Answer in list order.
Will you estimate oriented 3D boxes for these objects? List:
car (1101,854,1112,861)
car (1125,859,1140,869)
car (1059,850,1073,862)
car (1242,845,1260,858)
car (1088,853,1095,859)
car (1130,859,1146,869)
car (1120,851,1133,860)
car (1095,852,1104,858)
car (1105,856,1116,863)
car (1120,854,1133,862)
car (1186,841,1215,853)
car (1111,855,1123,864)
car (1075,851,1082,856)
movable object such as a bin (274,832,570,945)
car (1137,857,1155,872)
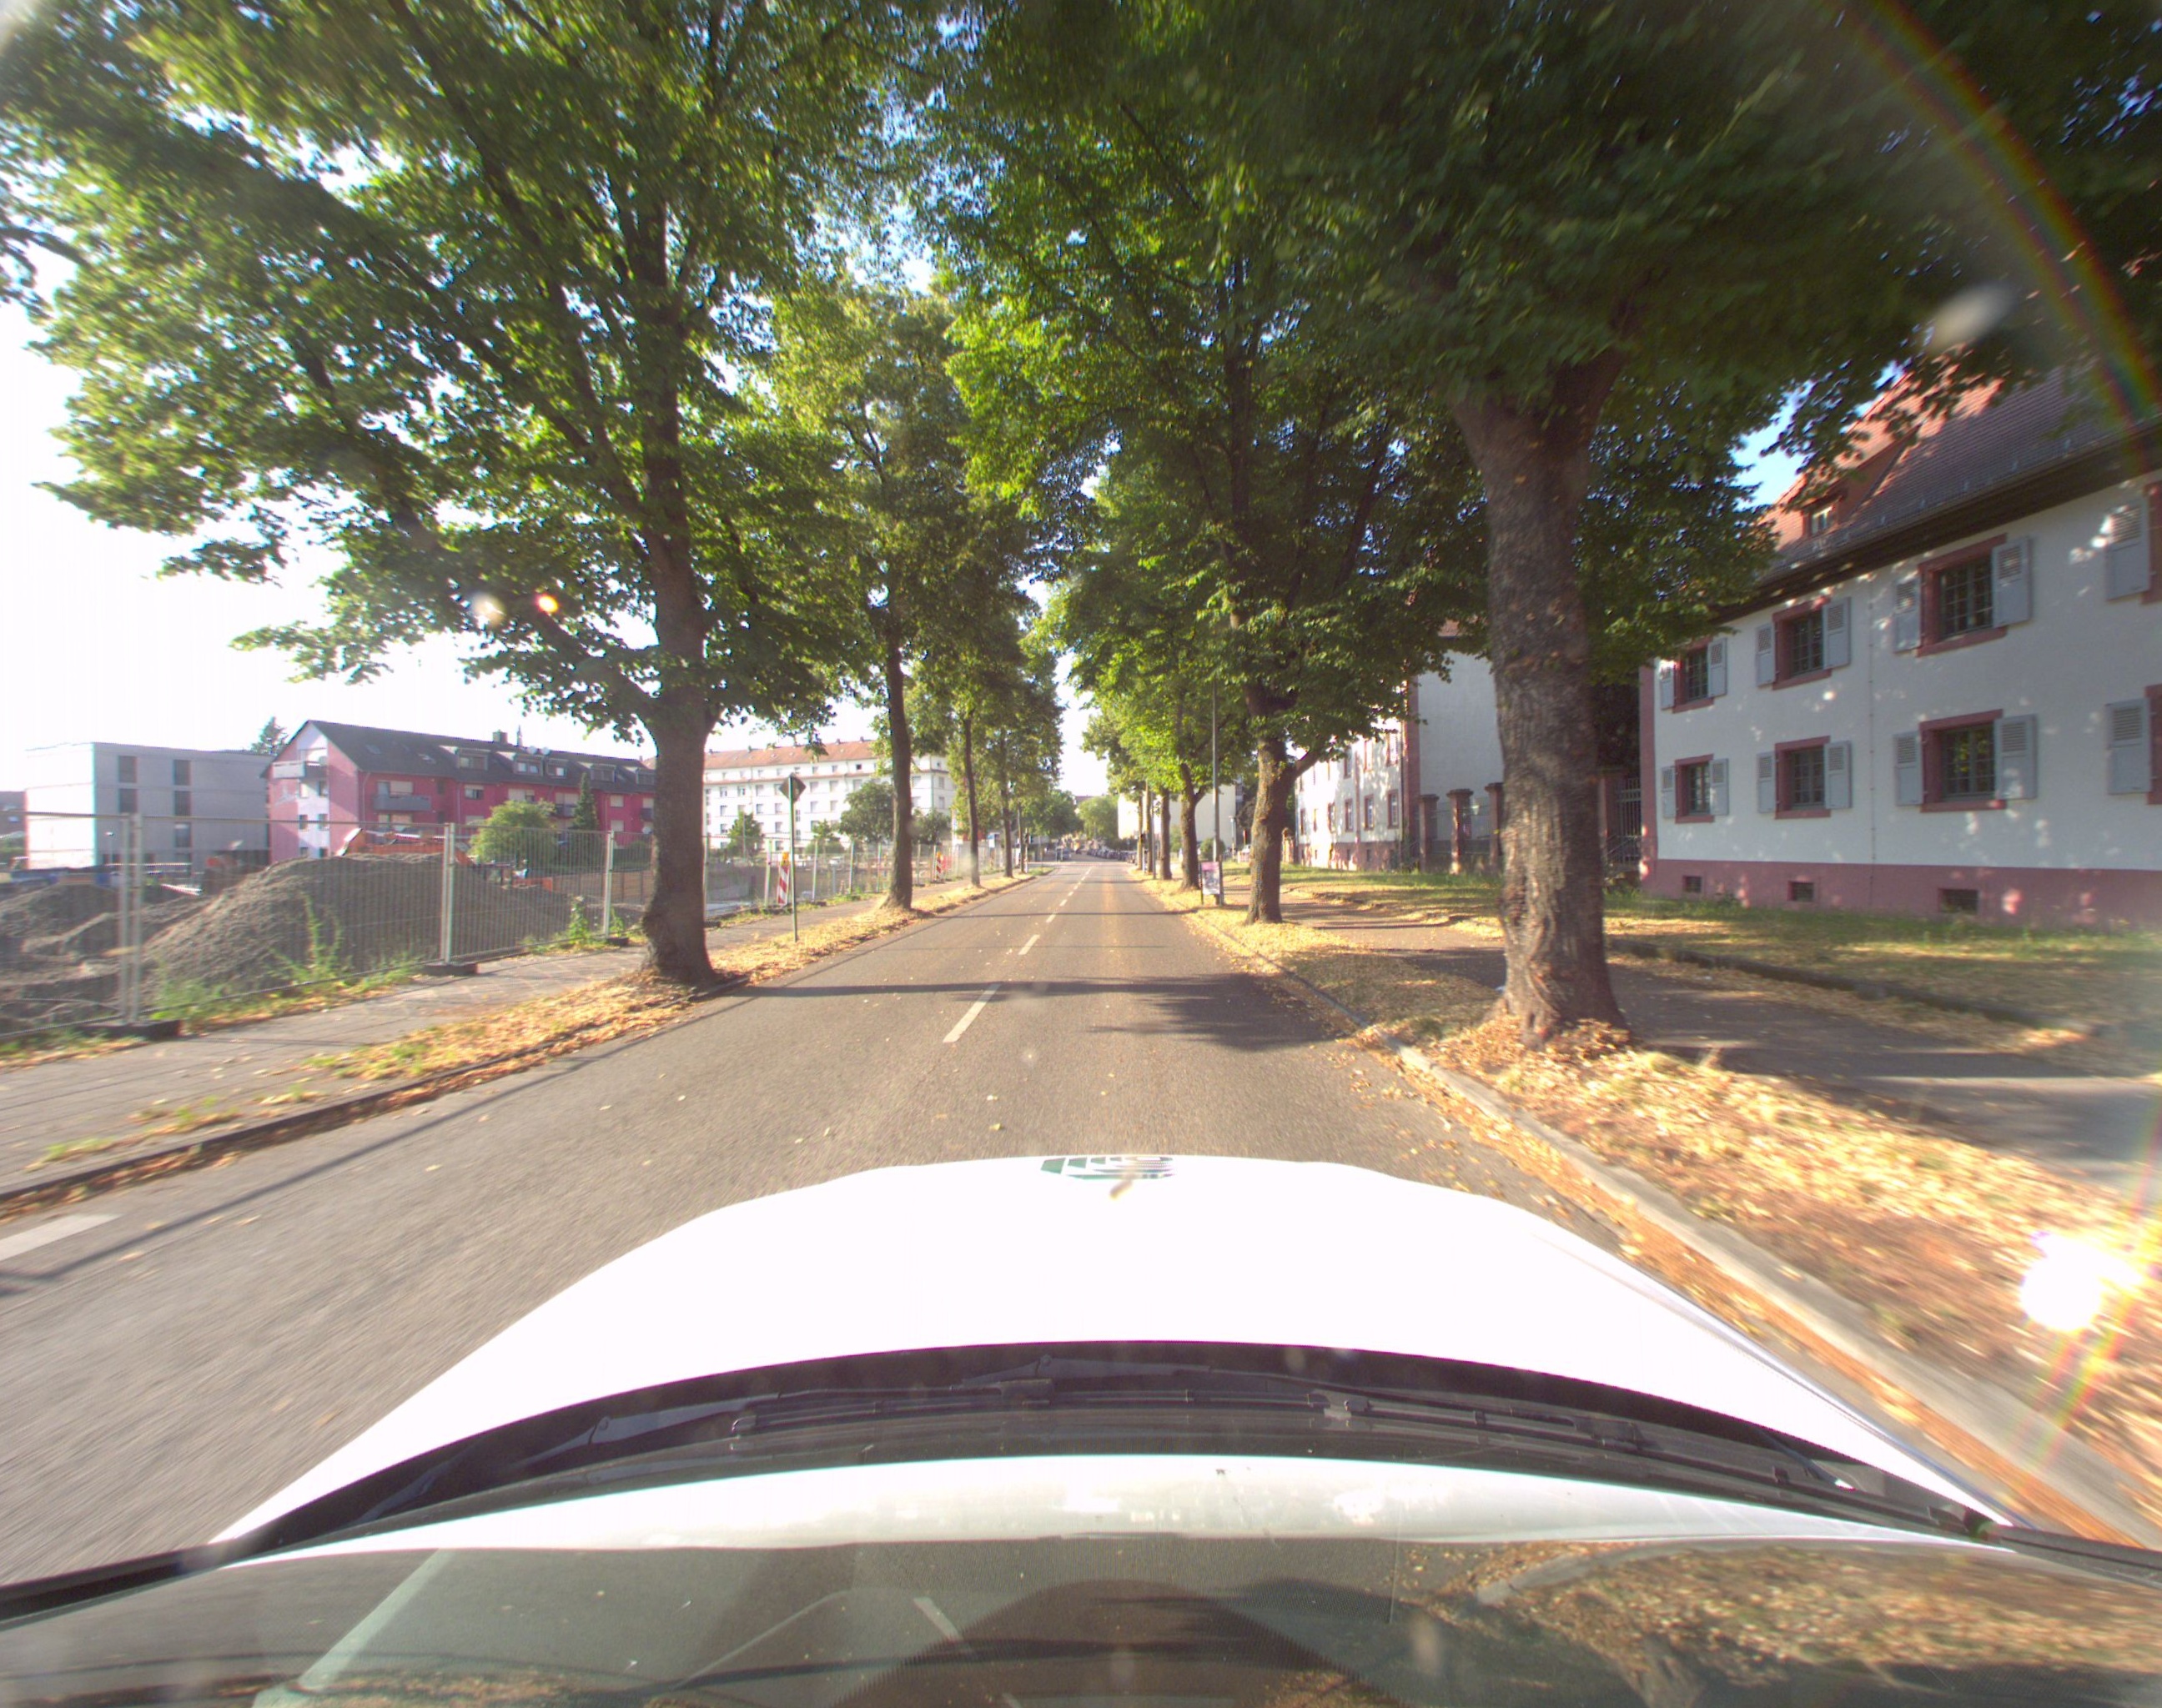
[{"bbox_3d":[5.236,0.795,167.390,1.836,1.386,3.997,-2,0,-2],"label":"car"},{"bbox_3d":[6.904,1.294,109.092,1.835,1.261,4.001,-2,0,1],"label":"car"},{"bbox_3d":[-2.460,0.340,131.988,1.990,1.687,3.994,-2,-1,-4],"label":"car"},{"bbox_3d":[21.760,-0.304,104.138,1.804,1.559,3.629,0,-1,4],"label":"car"},{"bbox_3d":[2.797,0.582,217.717,1.835,1.386,4.000,-2,0,1],"label":"car"},{"bbox_3d":[7.233,1.259,103.580,1.773,1.227,4.001,-2,0,1],"label":"car"},{"bbox_3d":[6.664,0.226,119.854,1.835,1.261,4.001,-2,0,1],"label":"car"},{"bbox_3d":[4.340,0.235,188.268,1.836,1.386,3.997,-2,0,-2],"label":"car"},{"bbox_3d":[5.674,1.029,155.557,1.836,1.386,3.997,-2,0,-2],"label":"car"},{"bbox_3d":[7.106,0.613,126.307,1.835,1.261,4.001,-2,0,1],"label":"car"},{"bbox_3d":[17.159,-1.036,116.680,3.971,1.728,1.774,0,0,2],"label":"car"},{"bbox_3d":[6.313,0.990,144.623,1.836,1.386,3.997,-2,0,-2],"label":"car"},{"bbox_3d":[-0.700,-0.145,238.358,1.710,1.486,3.997,-3,-1,-2],"label":"car"},{"bbox_3d":[-33.380,1.465,42.301,2.982,4.993,11.627,-4,0,24],"label":"movable object such as a bin"},{"bbox_3d":[7.341,1.195,92.447,1.835,1.574,4.001,-2,0,1],"label":"car"}]
